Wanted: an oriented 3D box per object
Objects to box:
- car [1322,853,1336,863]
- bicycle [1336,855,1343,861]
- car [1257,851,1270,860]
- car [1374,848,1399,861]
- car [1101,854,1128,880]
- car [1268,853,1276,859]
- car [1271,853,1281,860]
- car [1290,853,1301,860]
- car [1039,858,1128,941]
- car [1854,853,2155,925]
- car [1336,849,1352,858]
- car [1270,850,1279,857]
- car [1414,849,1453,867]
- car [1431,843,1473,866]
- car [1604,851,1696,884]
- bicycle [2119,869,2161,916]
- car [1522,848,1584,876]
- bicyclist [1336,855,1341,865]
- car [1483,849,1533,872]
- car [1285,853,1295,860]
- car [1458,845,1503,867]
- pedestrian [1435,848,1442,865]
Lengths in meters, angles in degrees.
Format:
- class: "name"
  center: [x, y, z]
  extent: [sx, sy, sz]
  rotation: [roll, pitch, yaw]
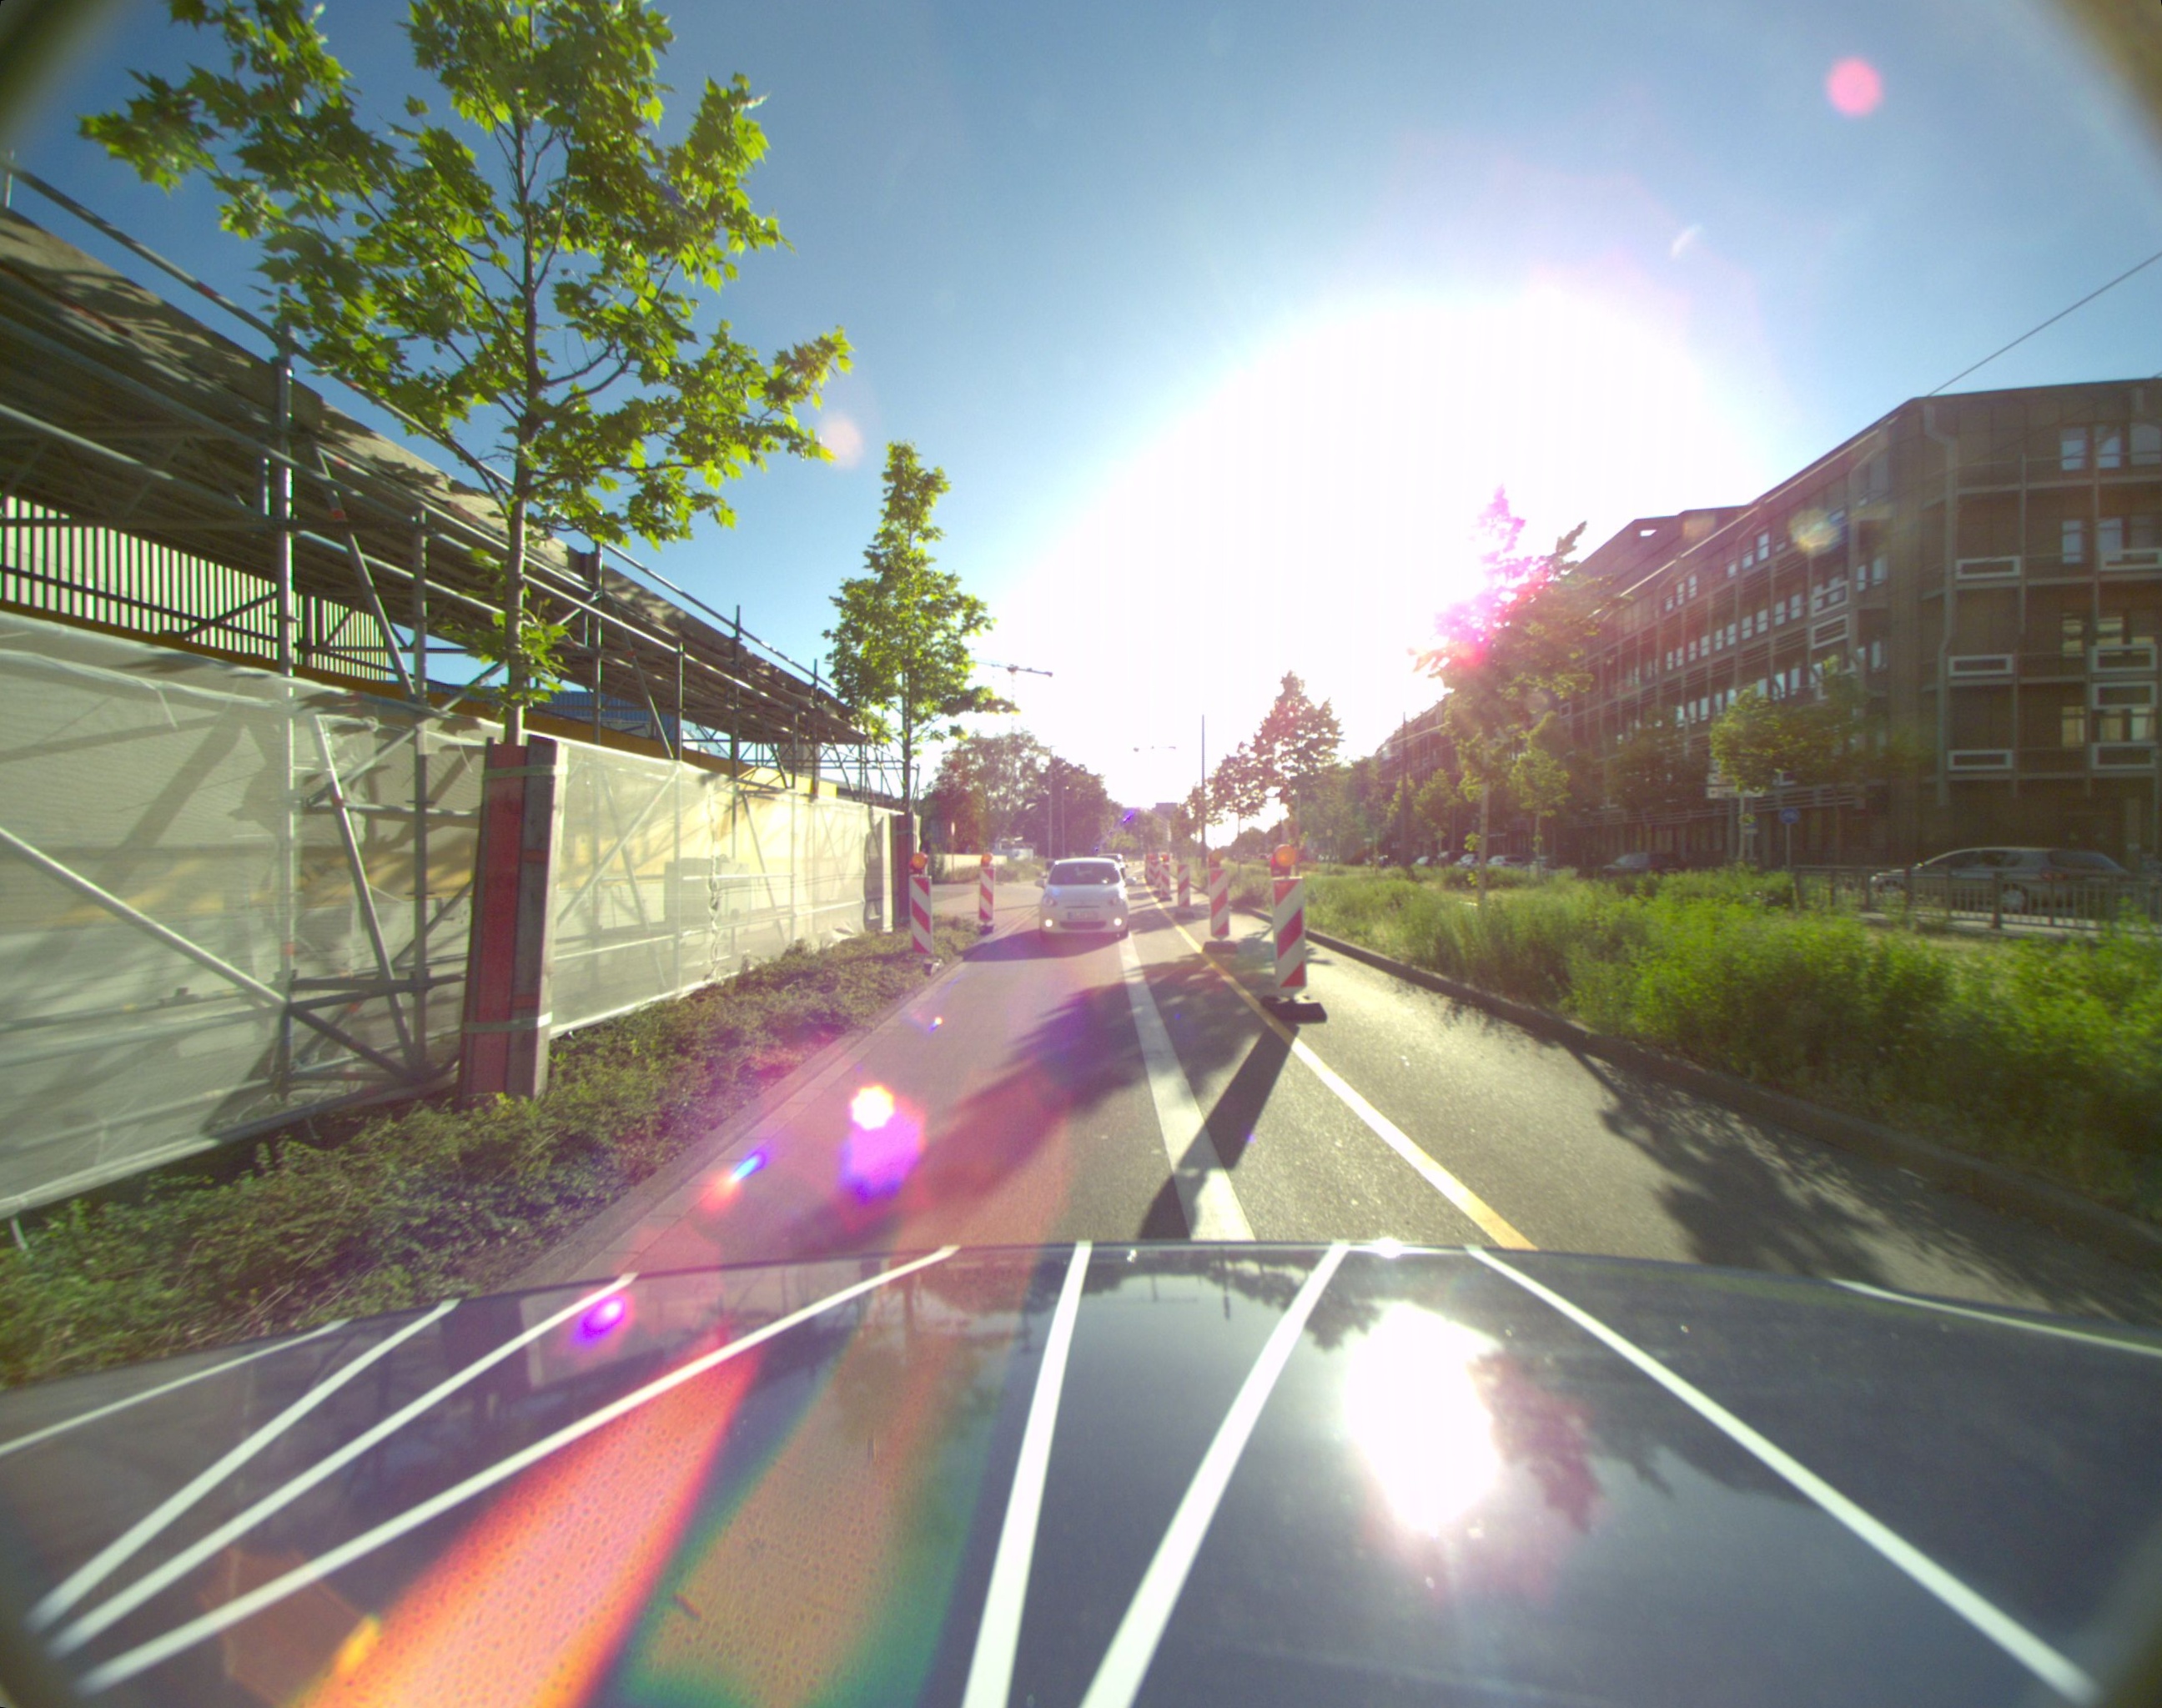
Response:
- class: "car"
  center: [45.103, 0.799, 138.338]
  extent: [1.725, 1.591, 3.635]
  rotation: [-2, -3, 8]
- class: "bicycle"
  center: [36.823, 0.589, 108.136]
  extent: [0.566, 0.872, 1.772]
  rotation: [1, 0, 7]
- class: "car"
  center: [34.751, 0.305, 144.778]
  extent: [1.731, 1.736, 4.123]
  rotation: [-1, 0, 6]
- class: "car"
  center: [32.591, 0.017, 81.132]
  extent: [1.719, 1.379, 4.042]
  rotation: [-1, 0, 11]
- class: "car"
  center: [1.954, 0.725, 45.073]
  extent: [1.458, 1.472, 3.527]
  rotation: [0, 0, 1]
- class: "car"
  center: [43.538, 0.451, 173.054]
  extent: [1.553, 1.371, 3.782]
  rotation: [0, 0, 10]
- class: "car"
  center: [42.374, 0.556, 165.103]
  extent: [1.630, 1.487, 3.782]
  rotation: [0, 0, 8]
- class: "car"
  center: [43.817, 0.572, 155.594]
  extent: [1.719, 1.379, 4.042]
  rotation: [-1, 0, 9]
- class: "car"
  center: [0.155, 0.867, 15.949]
  extent: [1.614, 1.488, 3.395]
  rotation: [-2, 0, 4]
- class: "car"
  center: [20.320, 0.687, 17.055]
  extent: [1.857, 1.412, 4.070]
  rotation: [1, 0, 2]
- class: "car"
  center: [44.389, -0.067, 128.266]
  extent: [1.725, 1.535, 3.633]
  rotation: [-2, 0, 8]
- class: "car"
  center: [46.045, -0.151, 181.170]
  extent: [1.864, 1.671, 3.782]
  rotation: [0, 0, 10]
- class: "car"
  center: [30.645, 0.321, 66.143]
  extent: [1.733, 1.460, 4.507]
  rotation: [-2, 0, 7]
- class: "car"
  center: [29.658, 0.037, 60.791]
  extent: [1.754, 1.761, 4.334]
  rotation: [-2, 0, 8]
- class: "car"
  center: [27.162, 0.620, 36.428]
  extent: [1.734, 1.453, 3.901]
  rotation: [-1, 0, 4]
- class: "bicycle"
  center: [23.218, 0.829, 15.830]
  extent: [0.697, 0.972, 1.827]
  rotation: [-1, 0, 2]
- class: "car"
  center: [27.993, 0.451, 45.197]
  extent: [1.652, 1.545, 3.969]
  rotation: [-1, 0, 9]
- class: "bicyclist"
  center: [36.903, 0.879, 108.803]
  extent: [0.566, 1.449, 0.706]
  rotation: [1, 0, 7]
- class: "car"
  center: [28.385, 0.427, 50.658]
  extent: [1.627, 1.433, 3.821]
  rotation: [-2, 0, 8]
- class: "car"
  center: [45.291, 0.632, 164.752]
  extent: [1.630, 1.487, 4.420]
  rotation: [0, 0, 10]
- class: "car"
  center: [29.277, 0.159, 55.802]
  extent: [1.741, 1.527, 3.887]
  rotation: [-1, 0, 8]
- class: "pedestrian"
  center: [37.101, 0.239, 78.826]
  extent: [0.521, 1.712, 0.537]
  rotation: [0, 1, 12]
